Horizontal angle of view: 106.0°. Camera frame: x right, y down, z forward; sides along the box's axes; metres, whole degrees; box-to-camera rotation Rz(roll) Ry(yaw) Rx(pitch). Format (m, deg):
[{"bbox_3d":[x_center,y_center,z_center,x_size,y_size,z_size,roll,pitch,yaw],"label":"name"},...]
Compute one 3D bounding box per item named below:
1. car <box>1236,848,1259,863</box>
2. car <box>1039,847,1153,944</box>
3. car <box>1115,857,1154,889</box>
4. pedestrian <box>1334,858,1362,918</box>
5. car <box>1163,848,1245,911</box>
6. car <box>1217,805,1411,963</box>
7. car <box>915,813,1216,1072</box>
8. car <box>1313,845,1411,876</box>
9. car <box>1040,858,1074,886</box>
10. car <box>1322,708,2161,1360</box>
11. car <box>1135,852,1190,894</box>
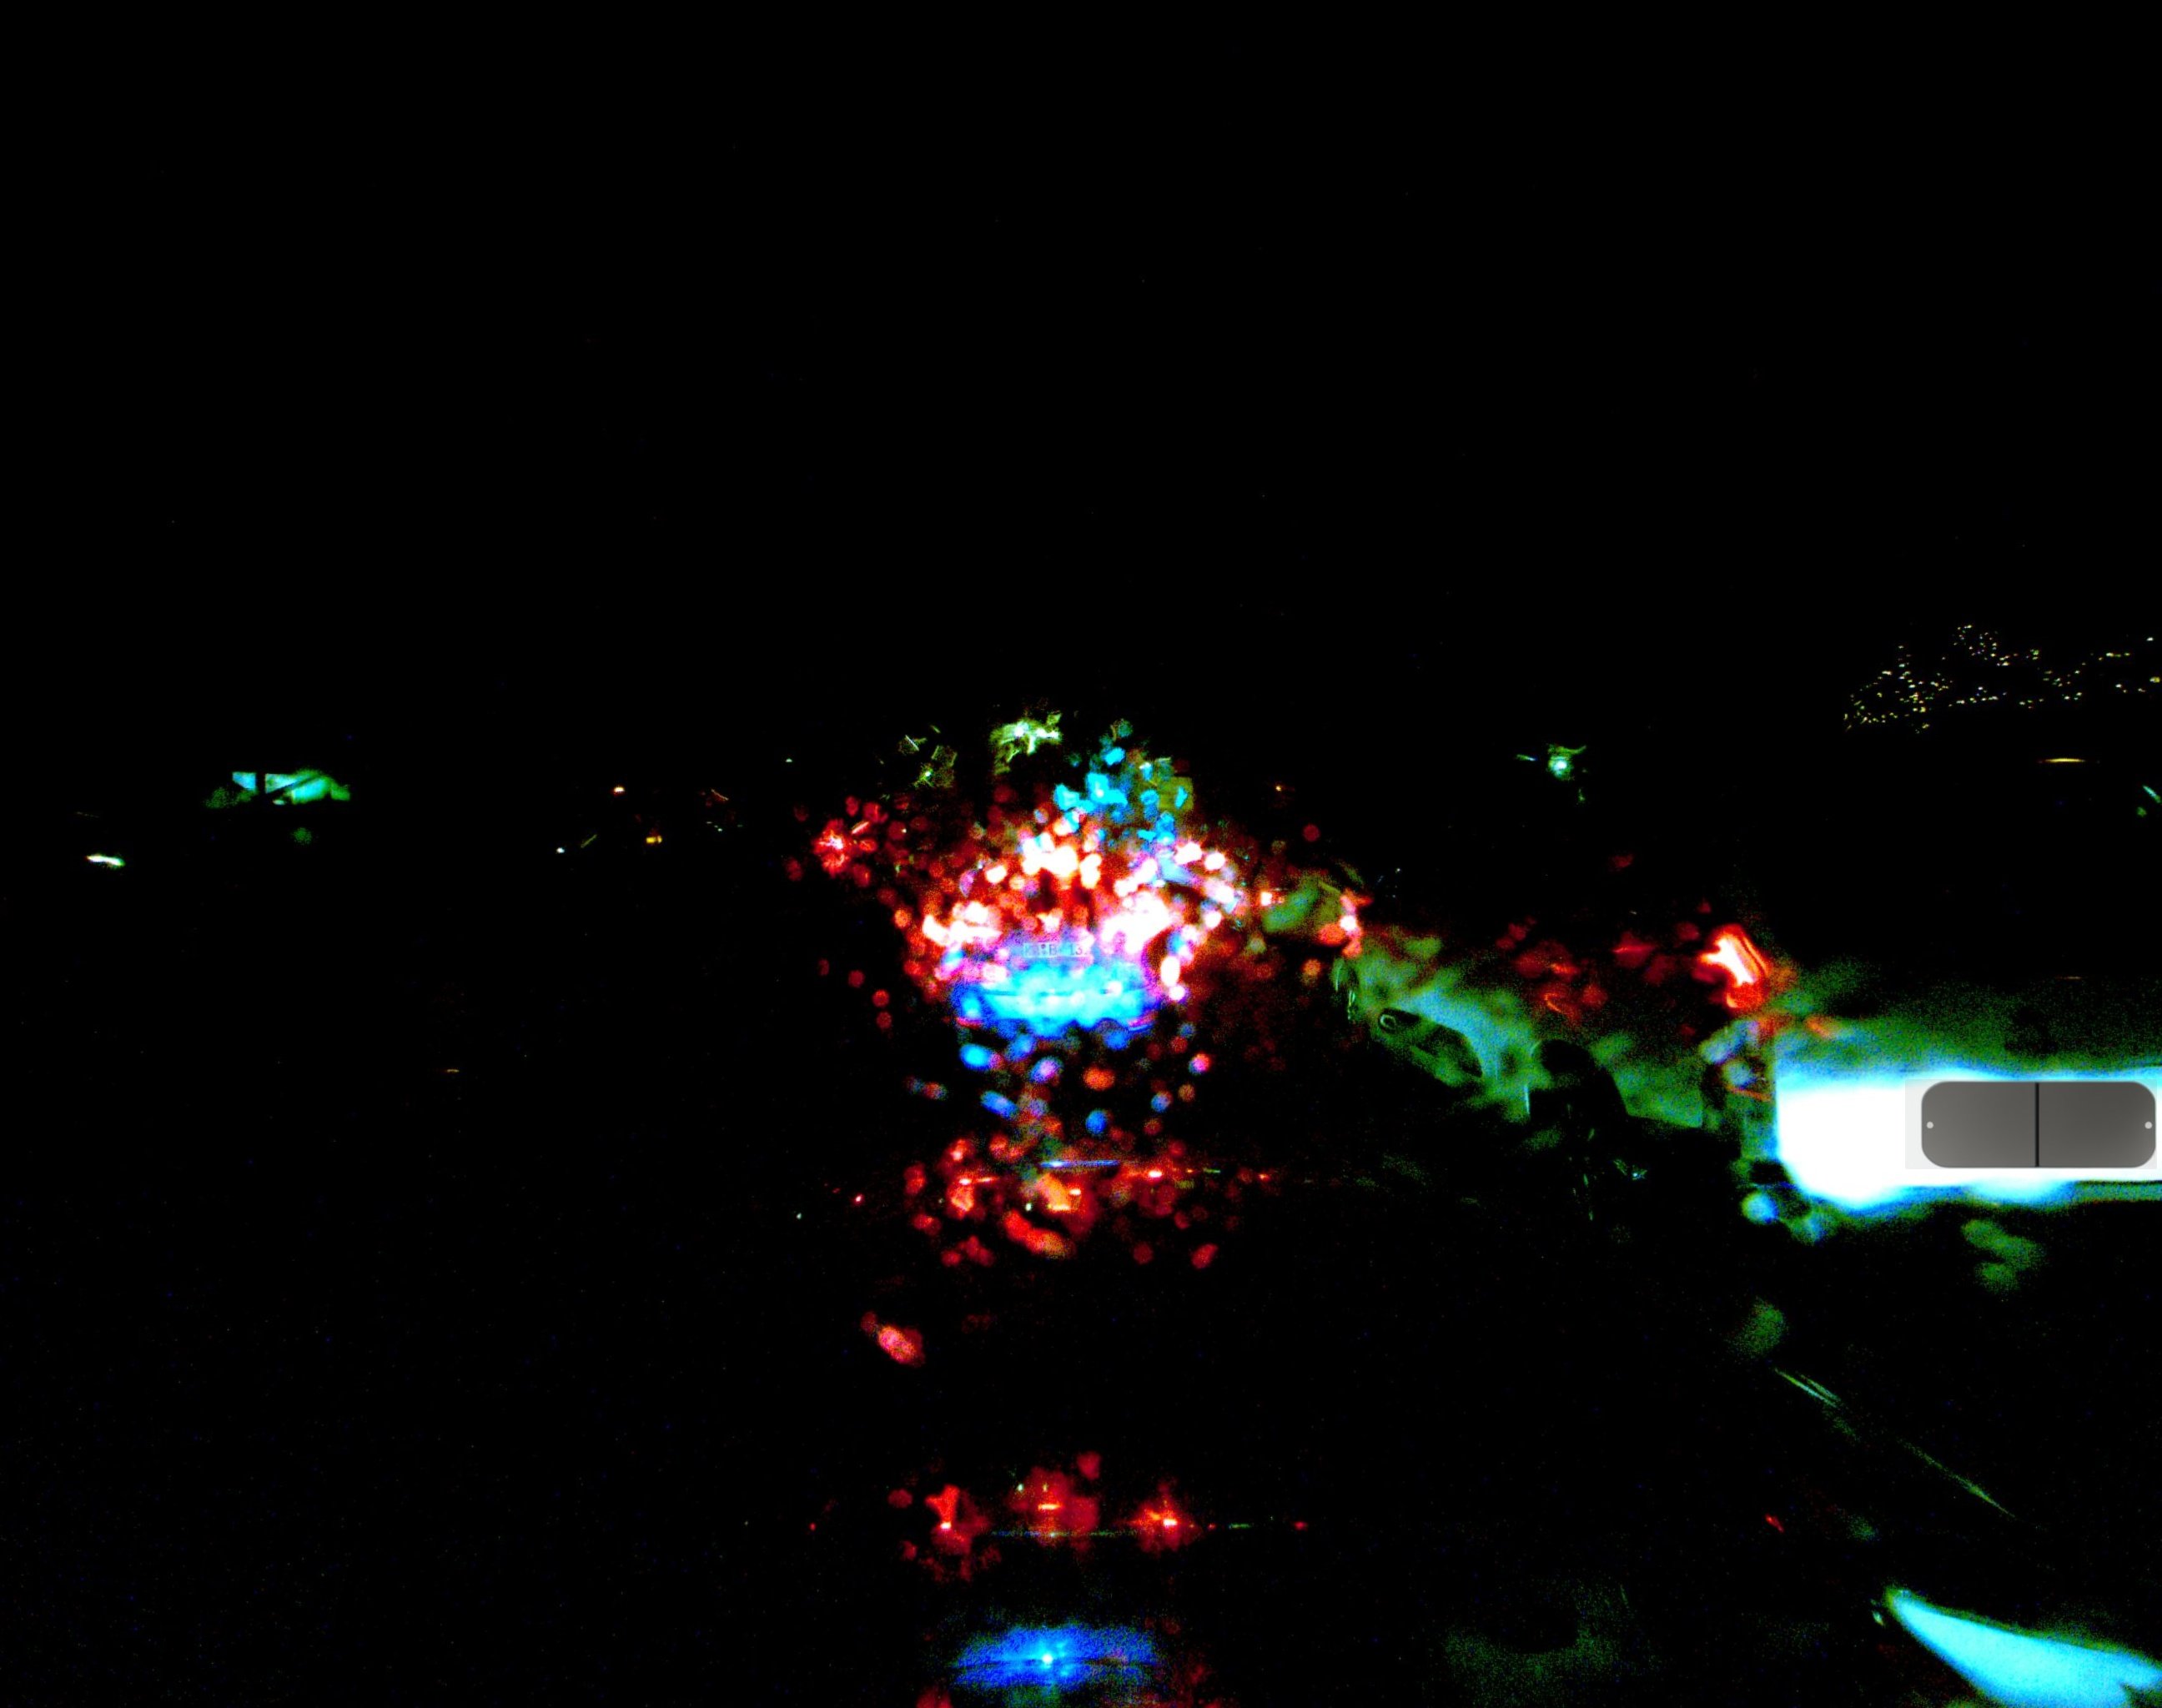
[{"bbox_3d":[19.135,0.163,93.846,1.857,1.646,3.965,-3,-1,2],"label":"car"},{"bbox_3d":[0.320,0.743,16.268,1.986,1.684,4.001,0,-1,2],"label":"car"},{"bbox_3d":[3.002,1.054,46.470,1.987,1.773,3.999,0,-1,0],"label":"car"},{"bbox_3d":[7.663,0.975,23.416,0.621,1.701,0.541,0,-1,-1],"label":"pedestrian"},{"bbox_3d":[3.583,0.726,24.394,1.986,1.718,4.001,0,-1,2],"label":"car"},{"bbox_3d":[3.359,0.410,12.597,1.961,2.047,4.001,0,-1,2],"label":"car"},{"bbox_3d":[-0.054,0.608,7.665,2.007,1.717,4.452,0,-1,1],"label":"car"},{"bbox_3d":[13.949,0.351,40.442,4.286,1.460,1.863,-1,-1,30],"label":"car"},{"bbox_3d":[-1.696,1.203,55.605,1.991,1.824,3.991,0,-1,-6],"label":"car"},{"bbox_3d":[2.841,0.531,4.512,1.845,1.865,4.342,0,-1,2],"label":"car"},{"bbox_3d":[3.347,0.766,34.126,1.986,1.670,4.001,0,-1,2],"label":"car"}]
